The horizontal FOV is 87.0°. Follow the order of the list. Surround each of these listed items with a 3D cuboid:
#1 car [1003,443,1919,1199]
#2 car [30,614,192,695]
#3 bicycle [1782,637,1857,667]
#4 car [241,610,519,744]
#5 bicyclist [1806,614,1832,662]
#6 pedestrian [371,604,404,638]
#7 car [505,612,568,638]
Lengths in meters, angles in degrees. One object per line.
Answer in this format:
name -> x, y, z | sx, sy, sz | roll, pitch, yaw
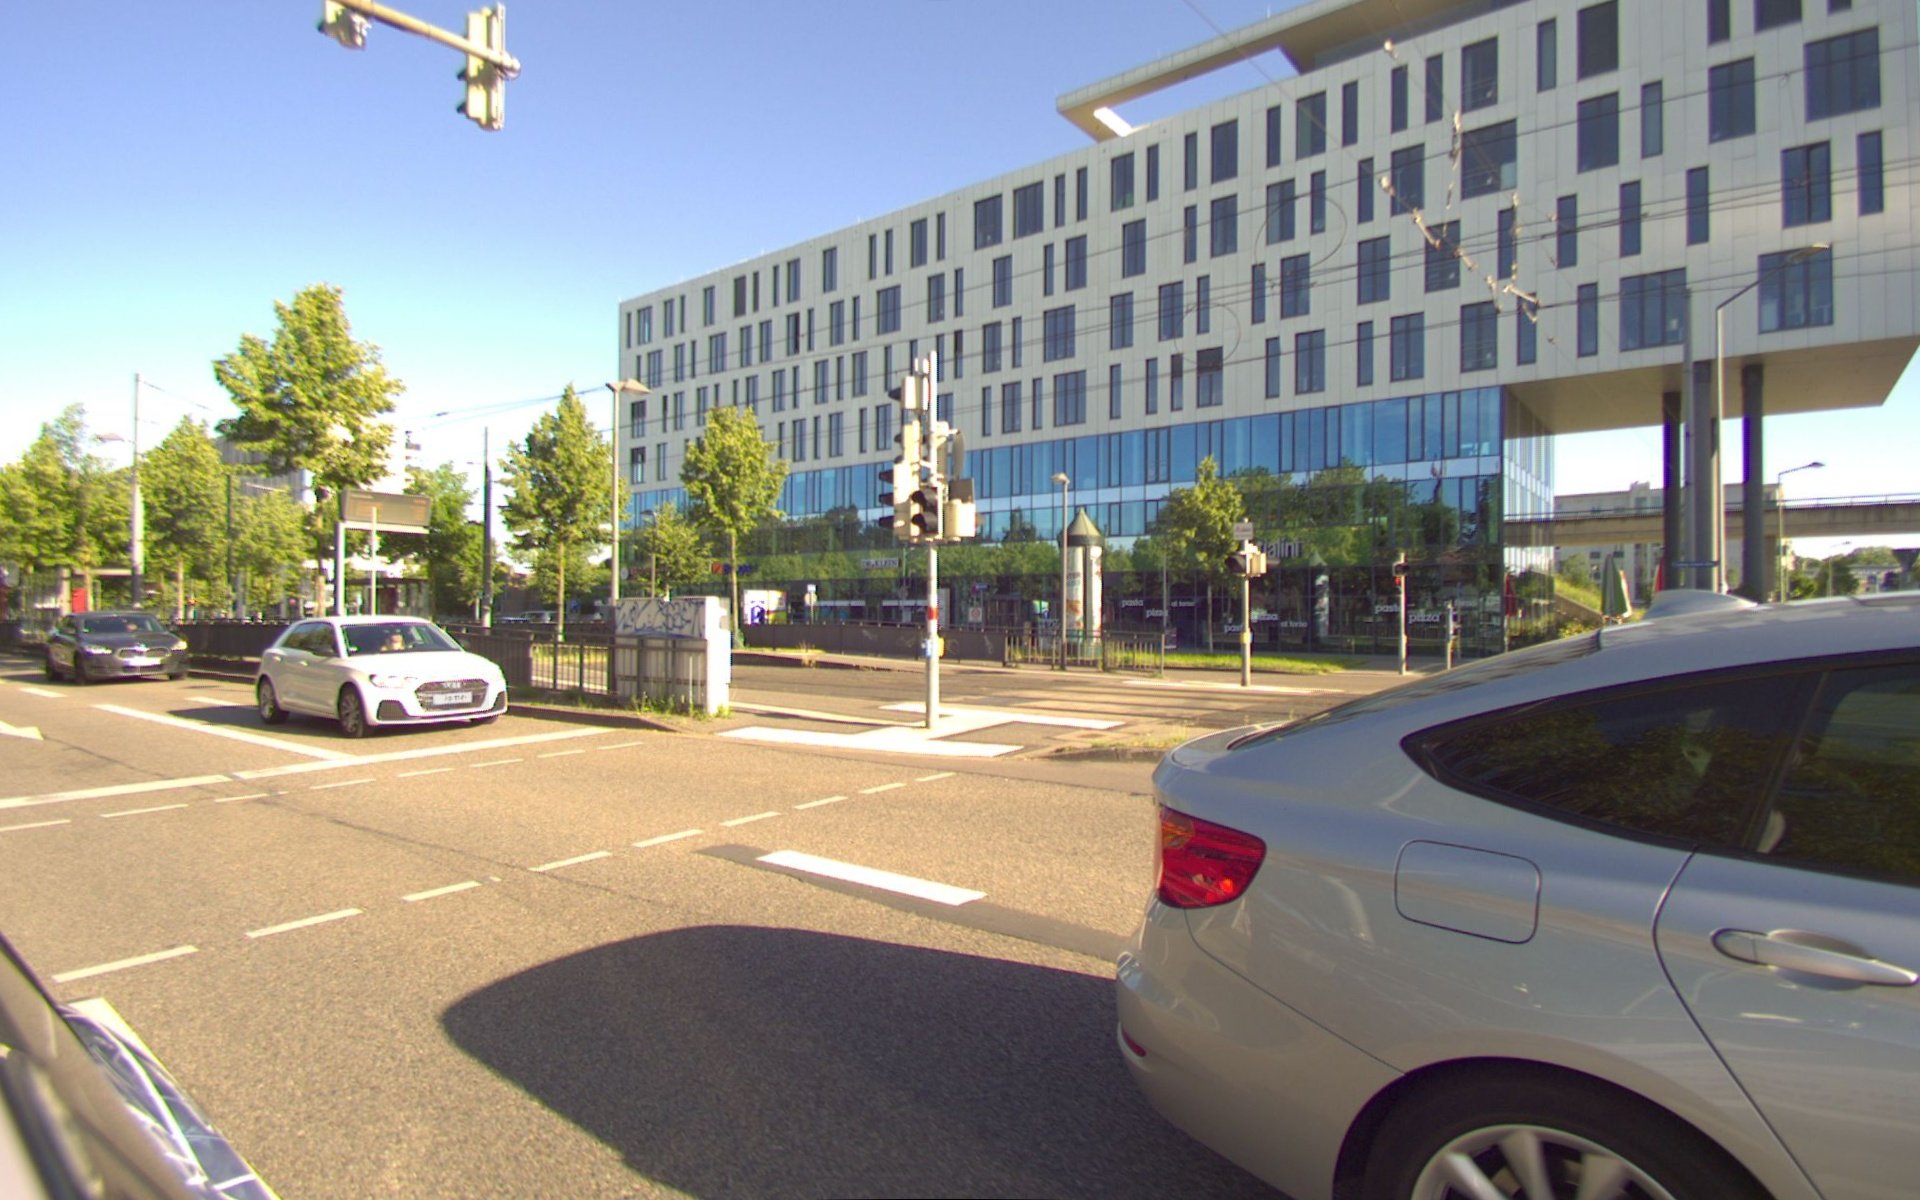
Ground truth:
car -> 2.586, 0.528, 1.496 | 4.903, 1.538, 1.782 | -1, 0, 37
car -> -18.358, 1.104, 21.819 | 4.337, 1.538, 1.782 | -1, 0, 38
bicycle -> 25.843, 1.556, 30.457 | 1.691, 0.869, 0.476 | -2, -2, 40
car -> -7.545, 0.888, 13.042 | 3.999, 1.437, 1.656 | -1, 0, 37
bicyclist -> 25.846, 1.131, 30.460 | 0.552, 1.434, 0.476 | -2, -2, 40
pedestrian -> -25.616, 0.950, 45.271 | 0.844, 1.477, 1.054 | -1, -1, 43
car -> -27.027, 1.568, 64.583 | 4.337, 1.538, 1.782 | -1, 0, 38
